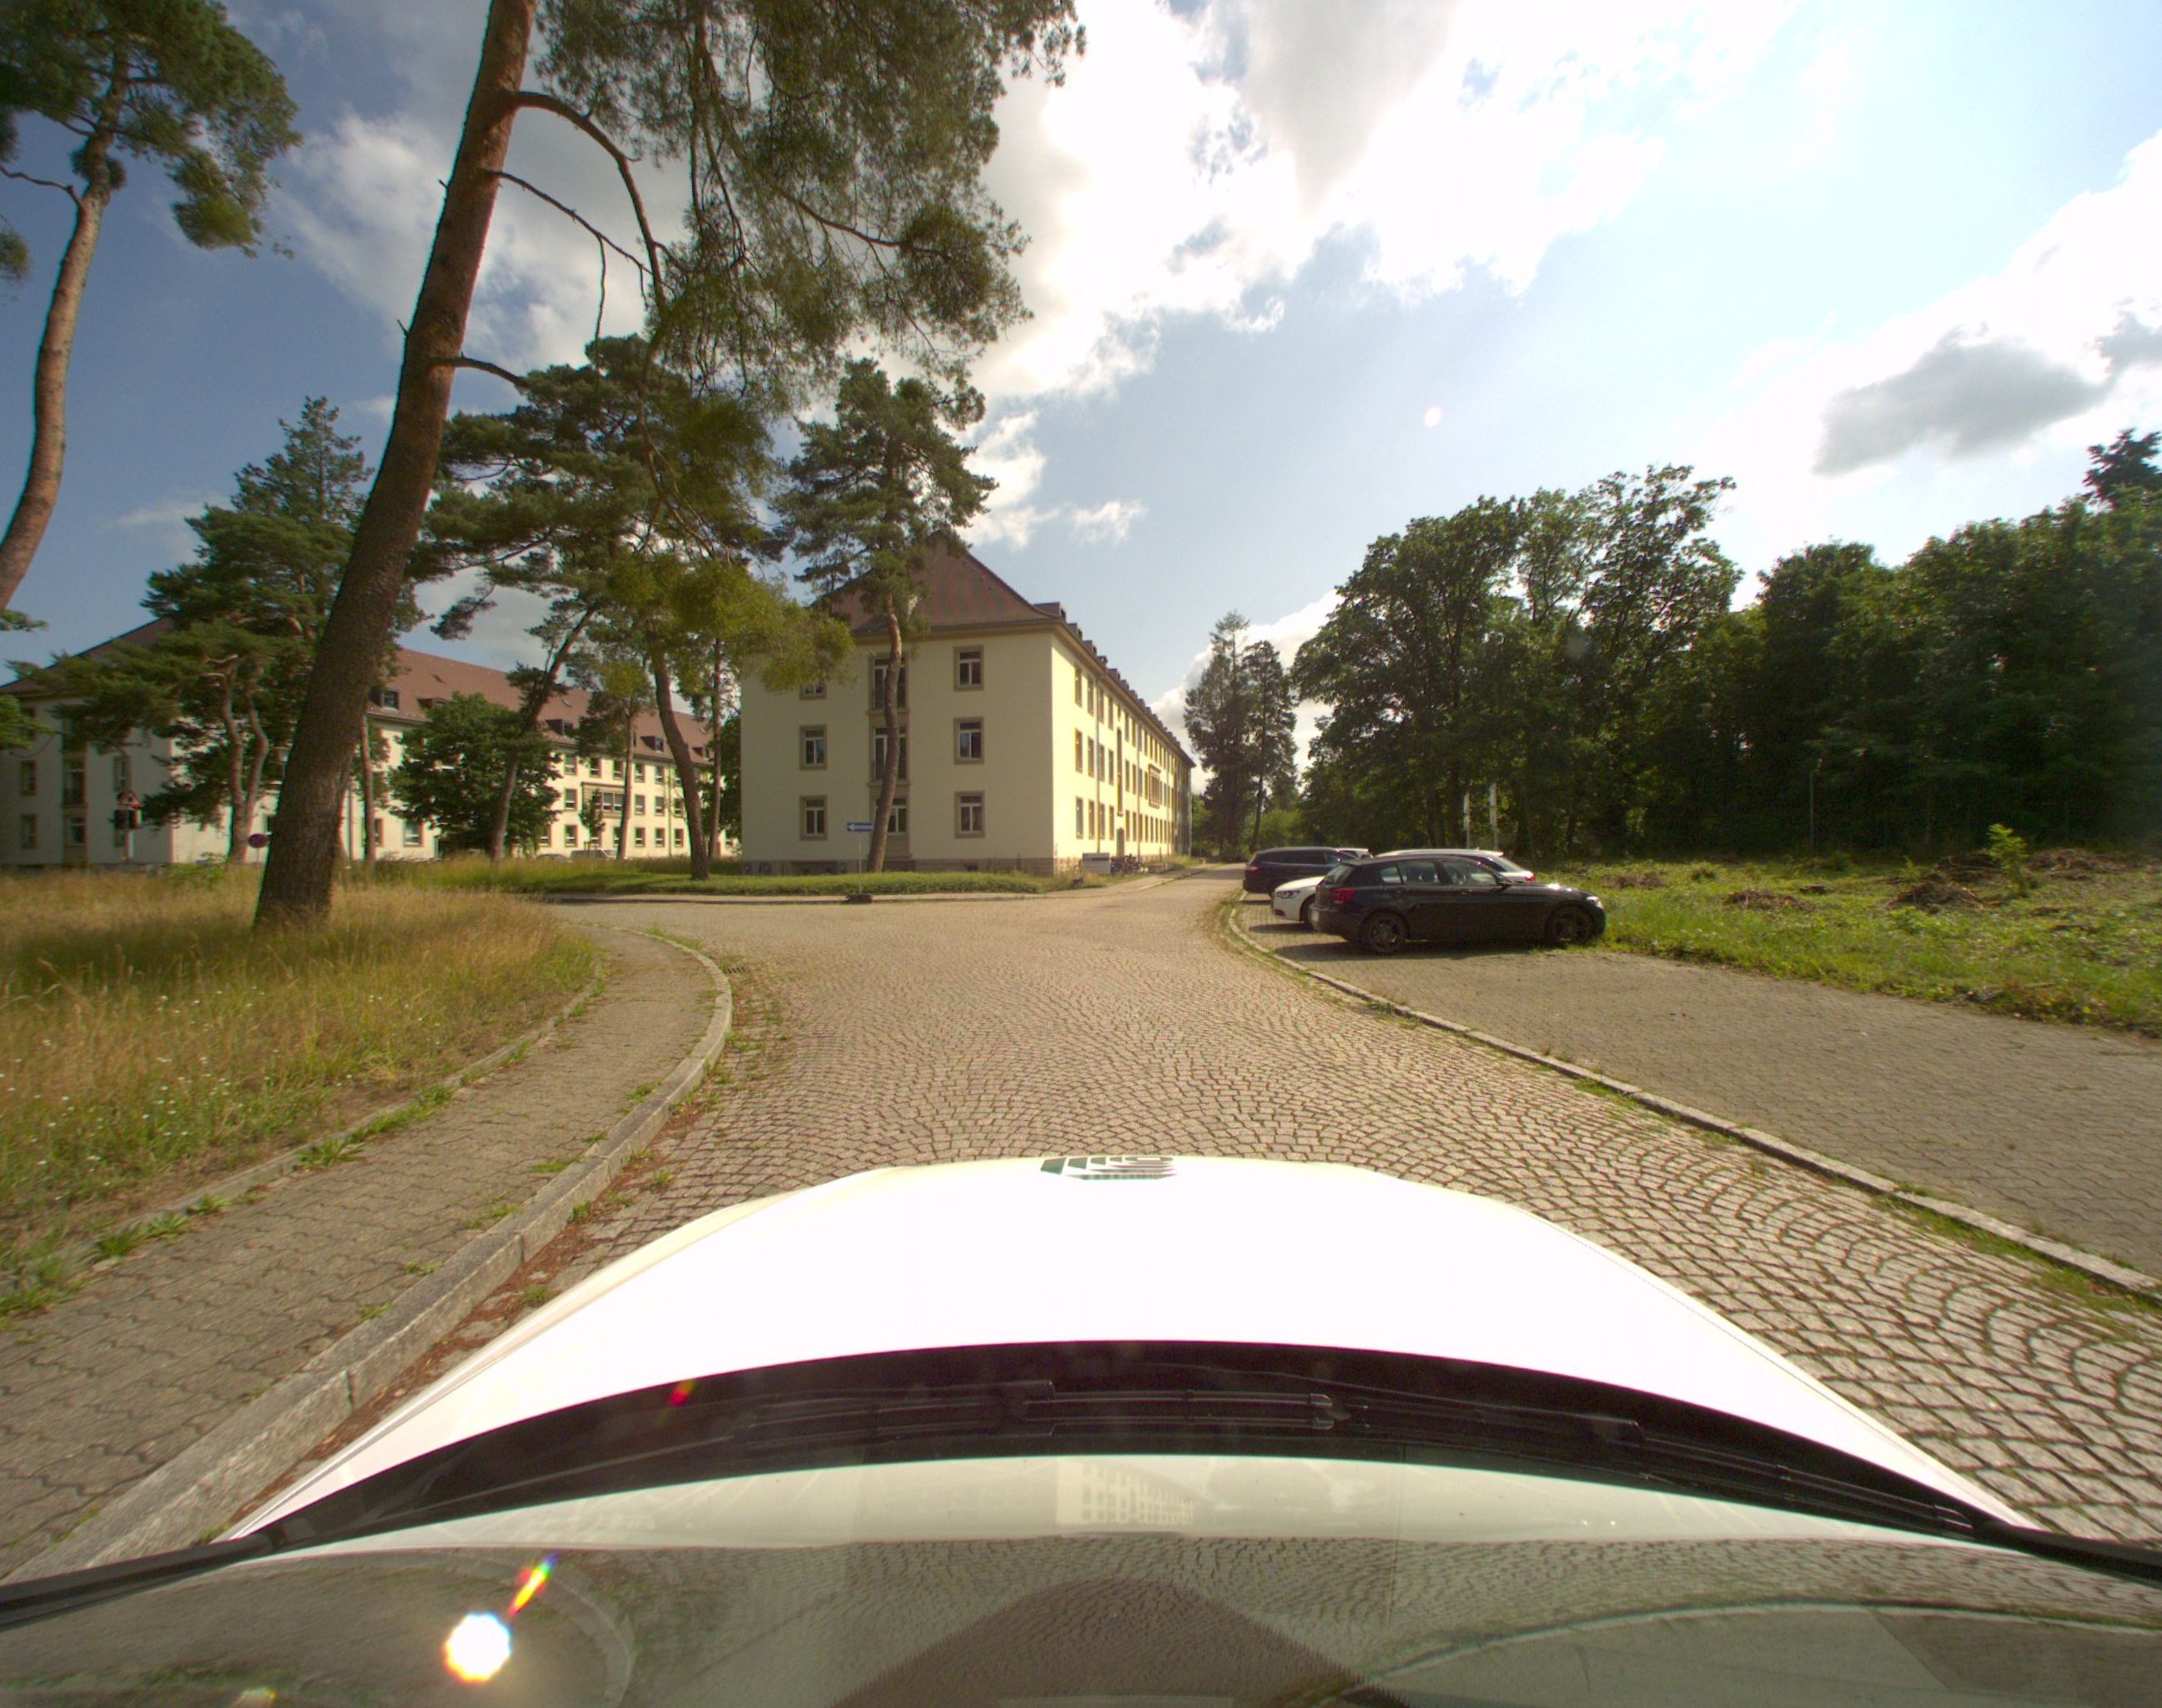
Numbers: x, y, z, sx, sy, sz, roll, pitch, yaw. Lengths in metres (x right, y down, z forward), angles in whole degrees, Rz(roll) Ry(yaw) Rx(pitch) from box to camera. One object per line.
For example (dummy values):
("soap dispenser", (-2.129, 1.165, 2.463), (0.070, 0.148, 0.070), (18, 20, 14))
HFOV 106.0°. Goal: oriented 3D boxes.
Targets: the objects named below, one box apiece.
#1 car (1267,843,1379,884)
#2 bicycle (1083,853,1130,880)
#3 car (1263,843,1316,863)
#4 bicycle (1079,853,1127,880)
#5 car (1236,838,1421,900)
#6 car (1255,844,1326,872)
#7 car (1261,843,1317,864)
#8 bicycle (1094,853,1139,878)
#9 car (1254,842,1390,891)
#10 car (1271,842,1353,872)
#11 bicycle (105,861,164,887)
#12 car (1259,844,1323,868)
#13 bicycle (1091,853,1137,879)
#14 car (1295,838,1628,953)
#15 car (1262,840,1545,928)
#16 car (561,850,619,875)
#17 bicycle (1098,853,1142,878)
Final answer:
("car", (9.736, 0.384, 32.937), (4.177, 1.484, 1.827), (-2, -1, 14))
("bicycle", (1.273, 0.608, 40.097), (2.206, 1.260, 0.625), (-1, 0, 15))
("car", (17.188, -0.045, 67.188), (4.157, 1.484, 1.827), (-2, -1, 14))
("bicycle", (1.051, 0.626, 39.255), (2.204, 1.260, 0.626), (-1, 0, 19))
("car", (6.909, 0.435, 23.226), (4.821, 1.552, 1.885), (-2, -1, 11))
("car", (13.038, 0.251, 50.780), (4.157, 1.543, 1.827), (-2, -1, 14))
("car", (16.459, -0.028, 64.529), (4.157, 1.484, 1.827), (-2, -1, 14))
("bicycle", (1.834, 0.594, 41.816), (2.206, 1.260, 0.625), (-1, 0, 15))
("car", (8.287, 0.435, 28.383), (4.370, 1.484, 1.771), (-2, -1, 11))
("car", (12.814, 0.158, 45.283), (4.235, 1.484, 1.827), (-2, -1, 14))
("bicycle", (-41.369, 0.867, 35.625), (0.485, 1.100, 1.595), (-1, 0, 24))
("car", (14.487, 0.113, 56.239), (4.157, 1.484, 1.827), (-2, -1, 14))
("bicycle", (1.640, 0.611, 40.914), (2.204, 1.260, 0.626), (-1, 0, 19))
("car", (5.706, 0.594, 12.659), (4.306, 1.500, 1.832), (-2, 1, 3))
("car", (6.043, 0.562, 15.866), (4.830, 1.472, 1.880), (-2, 1, 11))
("car", (-40.887, 0.682, 67.886), (4.031, 1.991, 1.719), (-1, 0, 13))
("bicycle", (2.040, 0.588, 42.808), (2.206, 1.260, 0.625), (-1, 0, 15))
